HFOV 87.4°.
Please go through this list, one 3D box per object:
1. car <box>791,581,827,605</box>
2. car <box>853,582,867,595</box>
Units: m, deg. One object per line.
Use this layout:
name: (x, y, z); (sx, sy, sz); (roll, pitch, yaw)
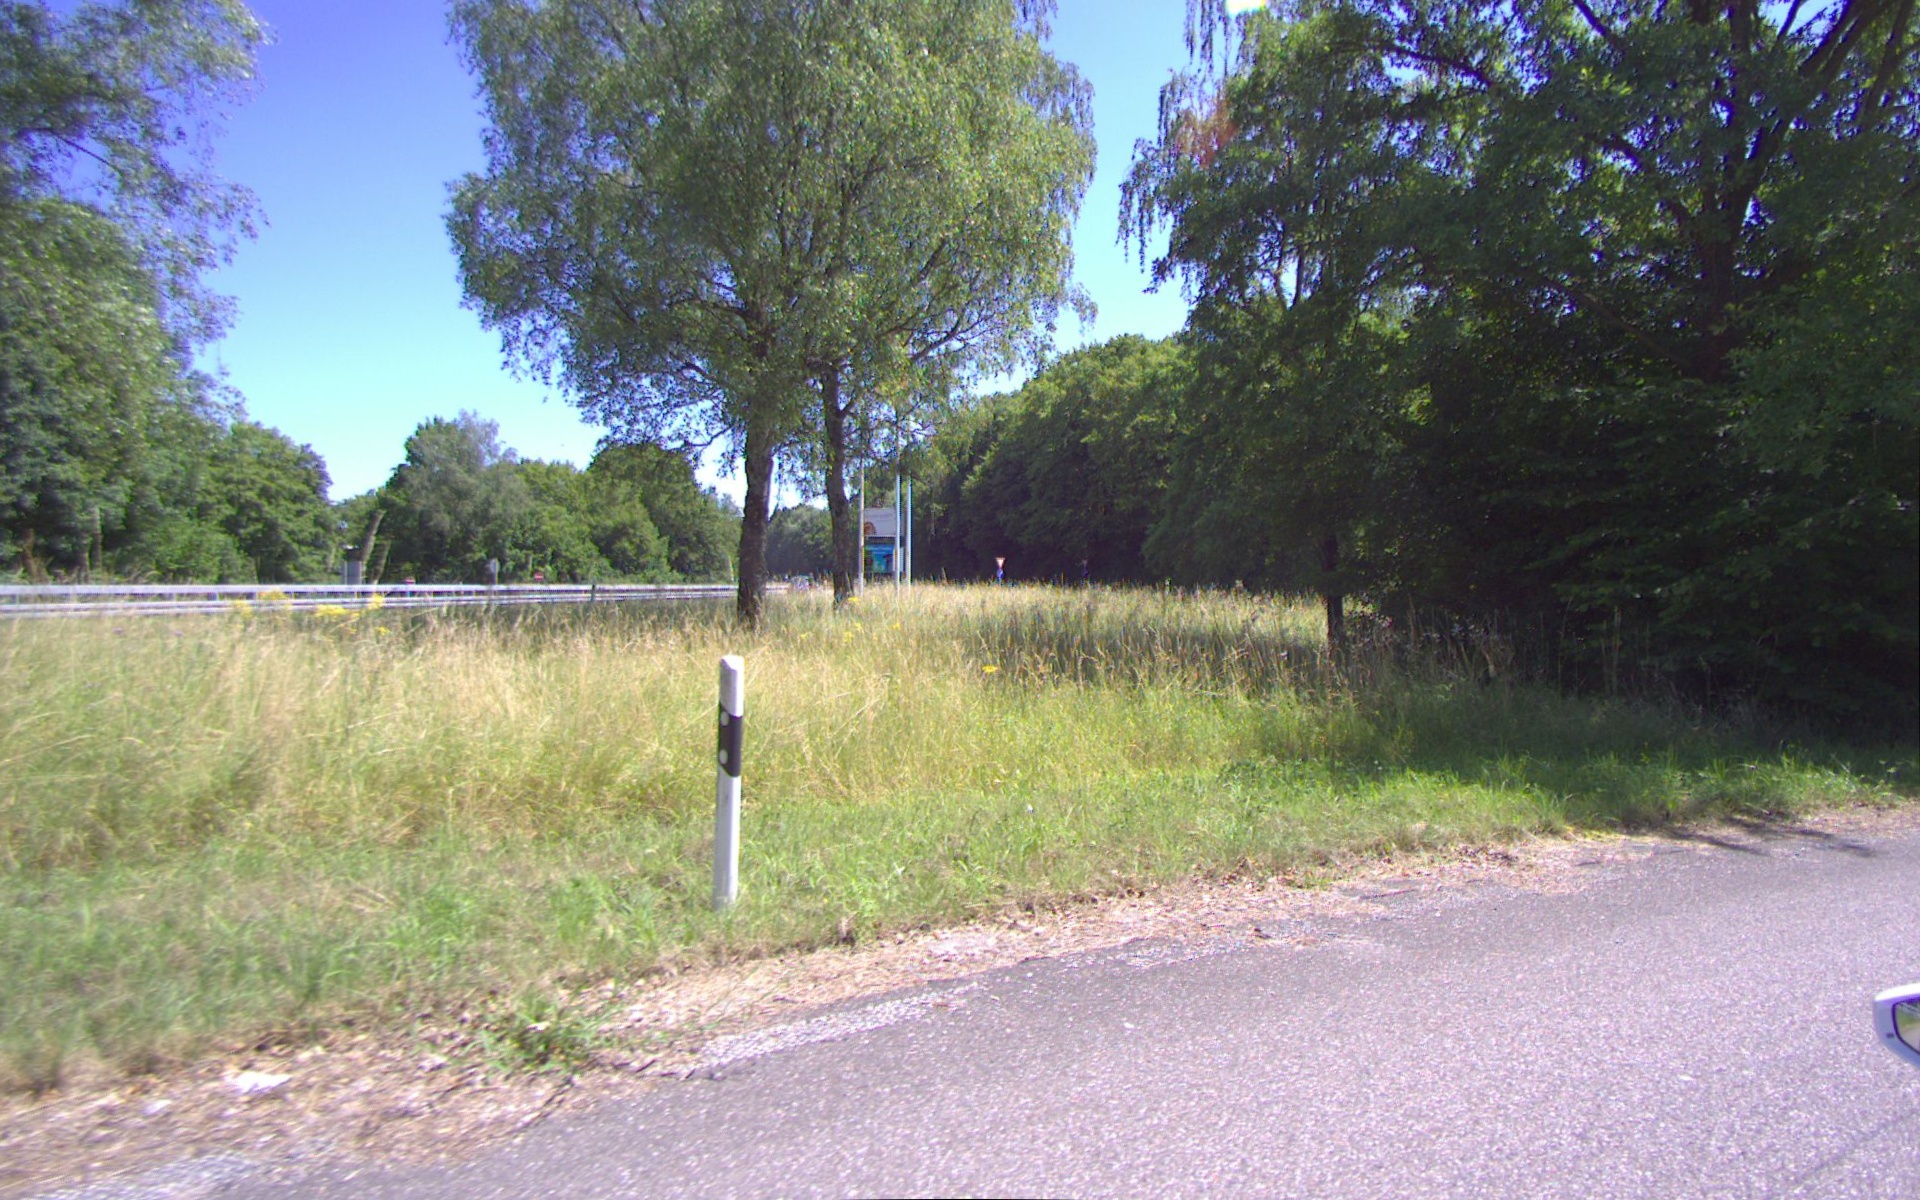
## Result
car: (-9.891, -0.454, 65.992); (1.488, 1.521, 3.591); (-2, 0, 4)
car: (-11.264, -1.284, 113.292); (1.501, 1.331, 3.412); (-2, 0, -6)
